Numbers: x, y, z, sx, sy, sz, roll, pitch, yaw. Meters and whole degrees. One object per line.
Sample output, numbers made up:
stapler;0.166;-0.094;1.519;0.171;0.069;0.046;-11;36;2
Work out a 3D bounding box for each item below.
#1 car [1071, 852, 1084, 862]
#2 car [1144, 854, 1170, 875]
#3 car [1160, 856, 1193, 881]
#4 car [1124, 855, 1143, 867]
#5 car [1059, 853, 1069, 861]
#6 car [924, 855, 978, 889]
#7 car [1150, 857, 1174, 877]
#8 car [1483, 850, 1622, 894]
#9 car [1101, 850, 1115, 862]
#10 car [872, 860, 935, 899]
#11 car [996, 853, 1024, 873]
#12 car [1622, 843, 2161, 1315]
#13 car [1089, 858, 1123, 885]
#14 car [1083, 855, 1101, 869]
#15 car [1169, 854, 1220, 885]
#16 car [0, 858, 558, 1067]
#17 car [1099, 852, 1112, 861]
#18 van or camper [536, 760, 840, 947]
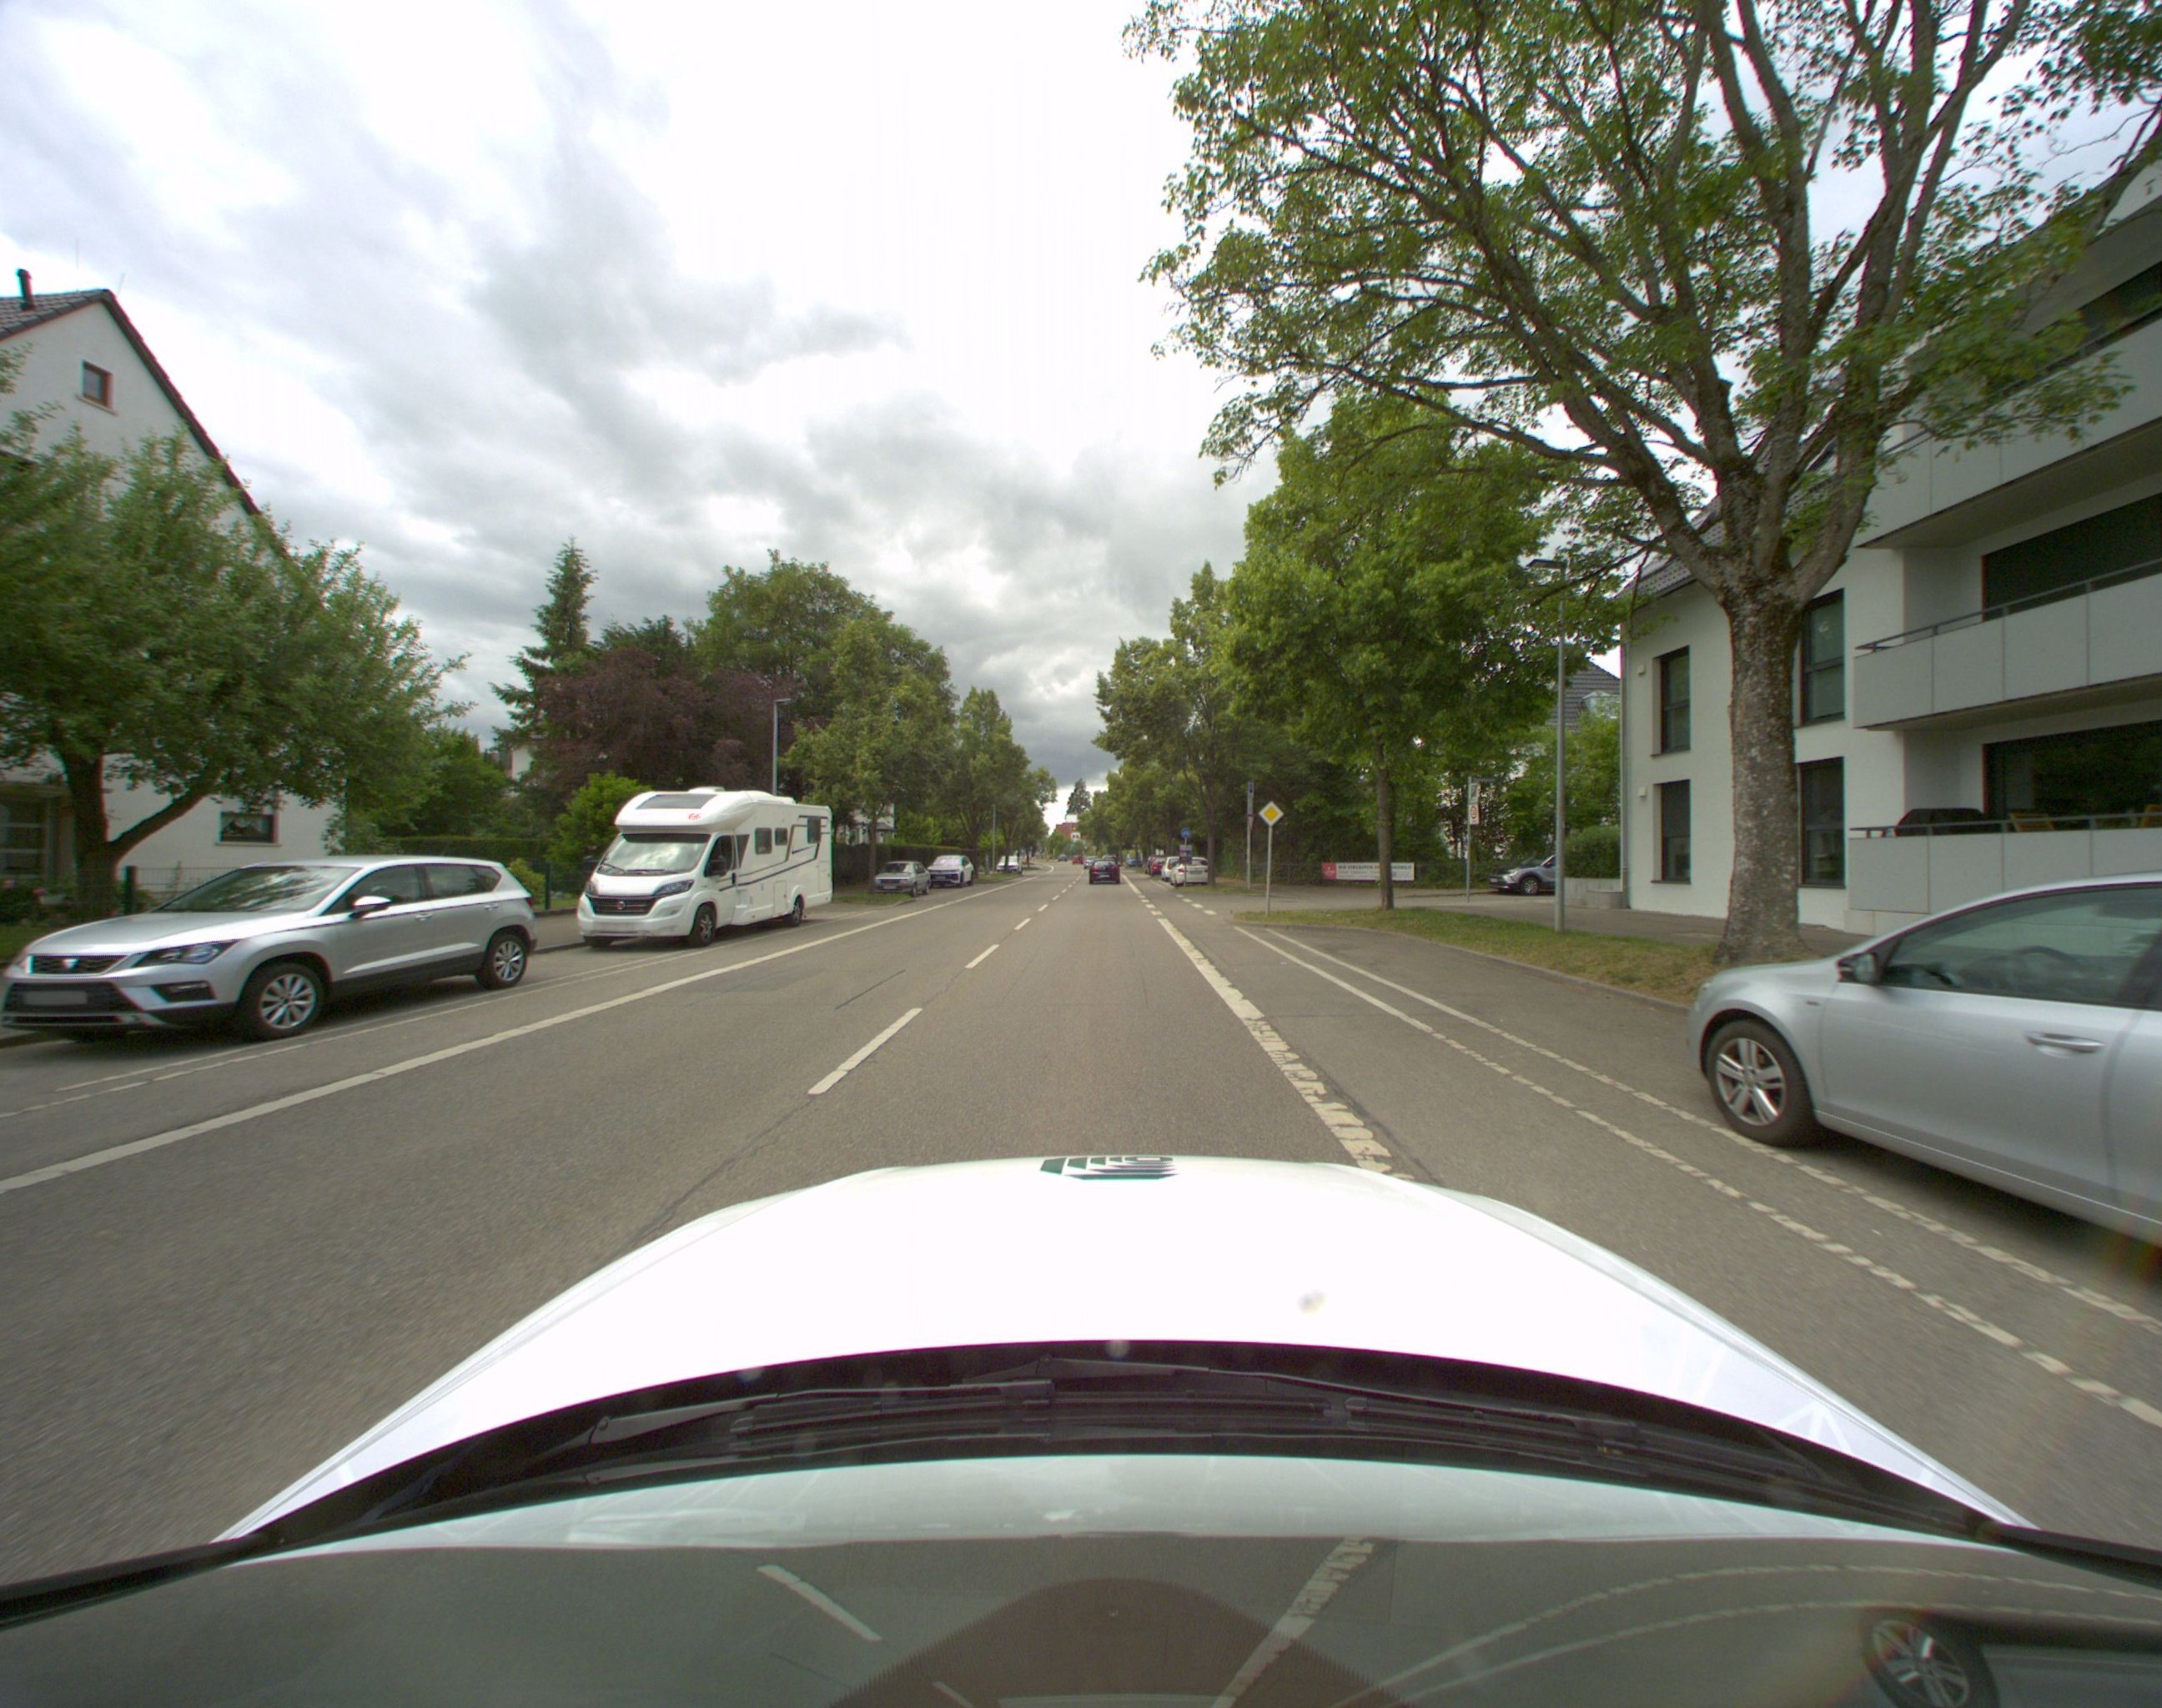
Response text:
car;-0.540;0.492;131.161;1.989;1.530;3.996;-1;0;-3
car;6.178;0.833;66.531;1.633;1.615;4.168;0;0;-1
car;5.732;0.854;49.157;1.610;1.460;3.658;-1;0;1
car;6.145;0.791;96.076;1.679;1.432;4.039;0;0;-4
car;-3.426;0.669;165.734;1.989;1.508;3.995;0;-1;-3
car;-6.776;0.896;42.924;1.809;1.652;4.703;0;0;3
car;6.054;0.920;61.052;1.631;1.420;4.003;-1;0;3
car;16.725;0.611;29.030;3.977;1.459;1.792;0;1;-3
car;4.036;0.274;123.550;1.785;1.772;3.977;0;0;-3
car;-7.135;0.970;33.110;1.550;1.470;4.451;0;0;0
car;-6.101;0.754;70.328;1.867;1.688;4.867;-1;0;1
car;4.260;0.703;3.085;1.681;1.493;4.228;-1;0;1
car;1.369;0.959;46.008;1.778;1.449;3.556;0;0;-1
car;1.249;0.921;95.094;1.987;1.558;4.000;-1;0;0
car;5.600;0.739;40.711;2.013;1.443;5.027;0;0;2
car;-7.730;0.853;8.443;1.716;1.600;4.274;0;0;2
car;3.899;0.456;129.594;1.683;1.449;3.573;0;0;-5
van or camper;-7.543;0.006;17.103;2.426;3.009;7.696;-1;0;2
